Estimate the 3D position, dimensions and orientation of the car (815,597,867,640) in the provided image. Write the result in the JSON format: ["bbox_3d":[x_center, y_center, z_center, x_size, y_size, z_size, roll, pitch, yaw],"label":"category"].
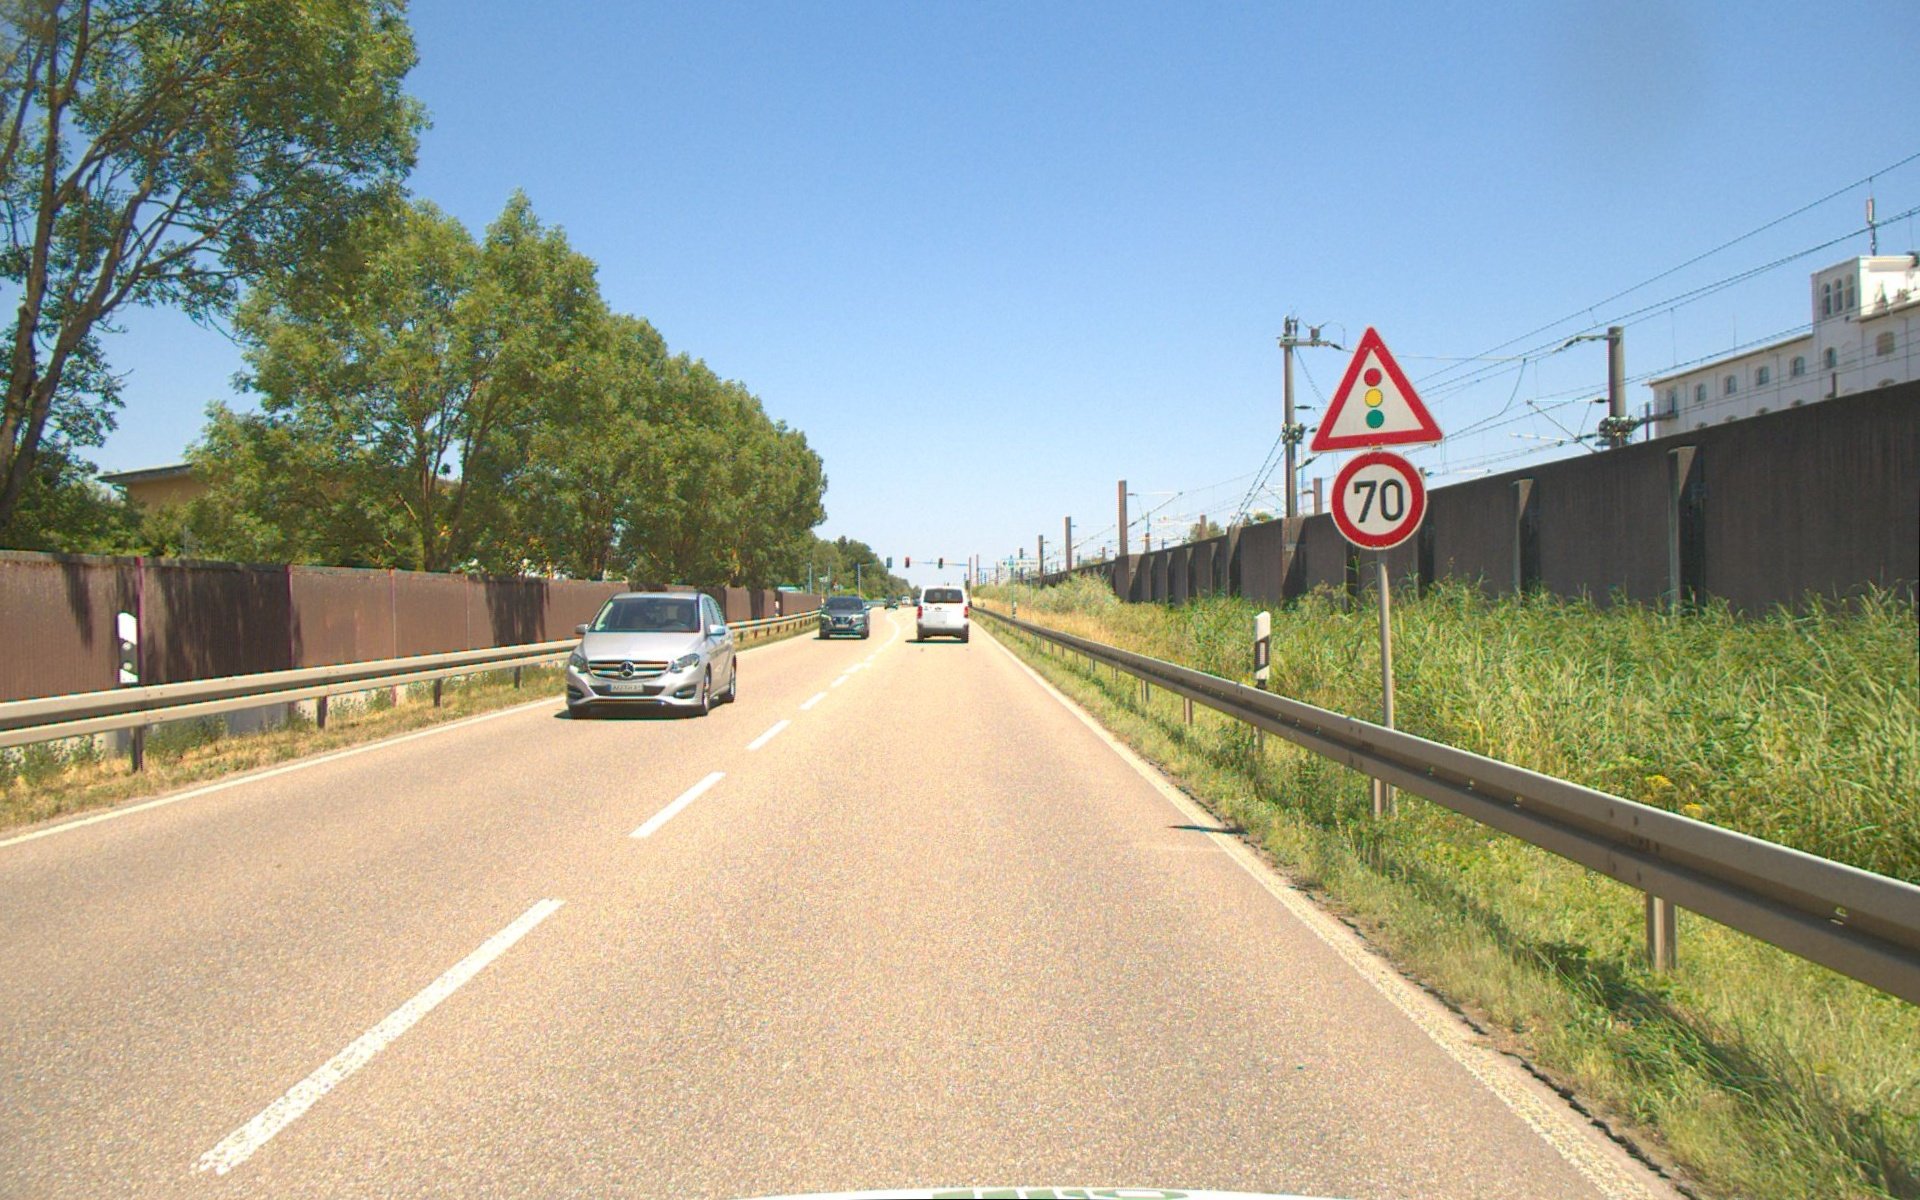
[{"bbox_3d":[-4.456,0.663,62.384,1.753,1.552,4.389,0,0,-1],"label":"car"}]

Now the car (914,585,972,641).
[{"bbox_3d":[-0.590,0.446,58.634,1.953,1.882,3.999,1,0,-1],"label":"car"}]

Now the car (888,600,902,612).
[{"bbox_3d":[-8.609,0.785,219.884,1.783,1.624,3.998,1,0,-2],"label":"car"}]

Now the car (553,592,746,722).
[{"bbox_3d":[-4.003,0.680,22.016,1.753,1.552,4.390,0,0,0],"label":"car"}]
